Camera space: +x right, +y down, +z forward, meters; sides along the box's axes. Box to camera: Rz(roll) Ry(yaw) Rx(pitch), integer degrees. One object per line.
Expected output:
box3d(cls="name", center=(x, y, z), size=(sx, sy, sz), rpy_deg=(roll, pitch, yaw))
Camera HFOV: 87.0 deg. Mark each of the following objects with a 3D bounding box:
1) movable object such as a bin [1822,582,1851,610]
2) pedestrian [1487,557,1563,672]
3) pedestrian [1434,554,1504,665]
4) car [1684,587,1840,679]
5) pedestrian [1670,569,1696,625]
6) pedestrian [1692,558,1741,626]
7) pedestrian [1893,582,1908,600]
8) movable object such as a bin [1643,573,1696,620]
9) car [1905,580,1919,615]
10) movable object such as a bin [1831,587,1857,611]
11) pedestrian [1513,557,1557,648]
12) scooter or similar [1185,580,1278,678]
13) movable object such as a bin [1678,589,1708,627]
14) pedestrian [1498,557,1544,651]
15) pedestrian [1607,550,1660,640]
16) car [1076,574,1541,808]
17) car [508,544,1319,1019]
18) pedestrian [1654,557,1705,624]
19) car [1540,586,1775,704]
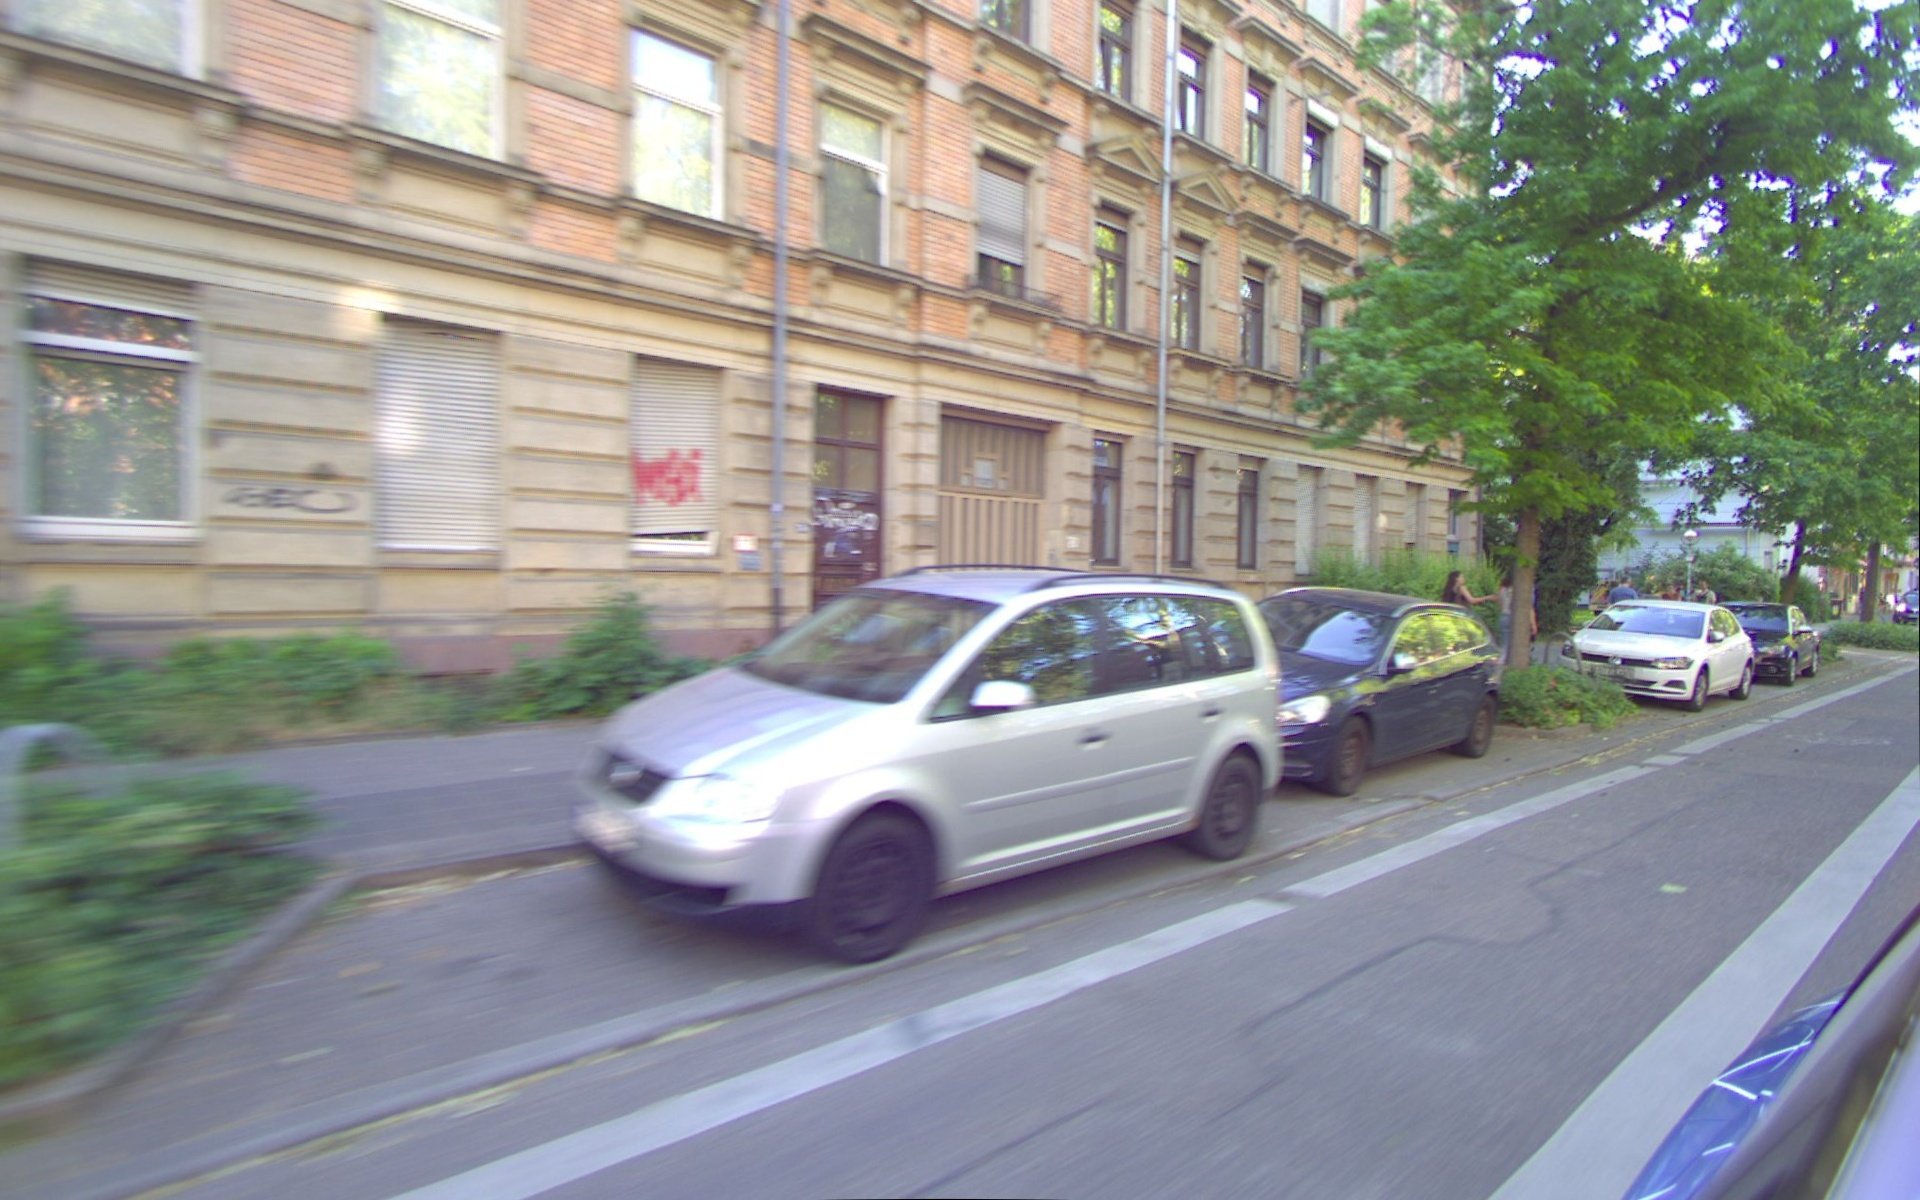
box3d(cls="movable object such as a bin", center=(45.960, -0.204, 53.067), size=(0.811, 1.414, 1.001), rpy_deg=(-1, 3, -43))
box3d(cls="pedestrian", center=(8.771, 0.201, 15.721), size=(0.939, 1.714, 0.728), rpy_deg=(0, 1, -39))
box3d(cls="pedestrian", center=(8.237, 0.134, 16.379), size=(0.840, 1.730, 0.728), rpy_deg=(0, 1, -38))
box3d(cls="car", center=(15.215, 0.540, 19.135), size=(3.778, 1.429, 1.676), rpy_deg=(-1, 5, -43))
box3d(cls="pedestrian", center=(22.831, -0.102, 31.966), size=(0.615, 1.747, 0.547), rpy_deg=(1, 1, 34))
box3d(cls="pedestrian", center=(20.730, -0.233, 27.731), size=(0.836, 1.815, 0.729), rpy_deg=(1, 3, -30))
box3d(cls="pedestrian", center=(65.372, -0.654, 70.338), size=(0.677, 1.220, 0.640), rpy_deg=(1, 1, 39))
box3d(cls="movable object such as a bin", center=(19.257, -0.104, 27.475), size=(1.279, 1.217, 0.642), rpy_deg=(0, 3, -30))
box3d(cls="car", center=(47.676, -0.095, 49.303), size=(4.362, 1.641, 1.767), rpy_deg=(0, 3, -40))
box3d(cls="movable object such as a bin", center=(44.728, -0.047, 51.188), size=(0.685, 1.124, 0.882), rpy_deg=(-1, 3, -43))
box3d(cls="pedestrian", center=(11.746, 0.048, 20.663), size=(0.716, 1.815, 0.599), rpy_deg=(-1, 1, -43))
box3d(cls="scooter or similar", center=(3.694, 0.361, 13.751), size=(1.311, 1.262, 0.577), rpy_deg=(-1, 1, -40))
box3d(cls="movable object such as a bin", center=(22.614, 0.248, 31.229), size=(0.665, 1.140, 0.942), rpy_deg=(1, 1, 42))
box3d(cls="pedestrian", center=(11.107, 0.072, 20.035), size=(0.716, 1.815, 0.599), rpy_deg=(-1, 1, -44))
box3d(cls="pedestrian", center=(13.930, -0.107, 20.934), size=(0.713, 1.815, 0.602), rpy_deg=(0, 1, -20))
box3d(cls="car", center=(3.289, 0.572, 9.053), size=(4.514, 1.484, 1.888), rpy_deg=(-1, 5, -41))
box3d(cls="car", center=(-0.008, 0.568, 5.574), size=(4.168, 1.586, 1.888), rpy_deg=(-1, 5, -41))
box3d(cls="pedestrian", center=(20.045, -0.282, 28.193), size=(0.948, 1.815, 0.729), rpy_deg=(1, 3, -30))
box3d(cls="car", center=(10.441, 0.556, 15.052), size=(4.036, 1.384, 1.888), rpy_deg=(-1, 5, -41))
